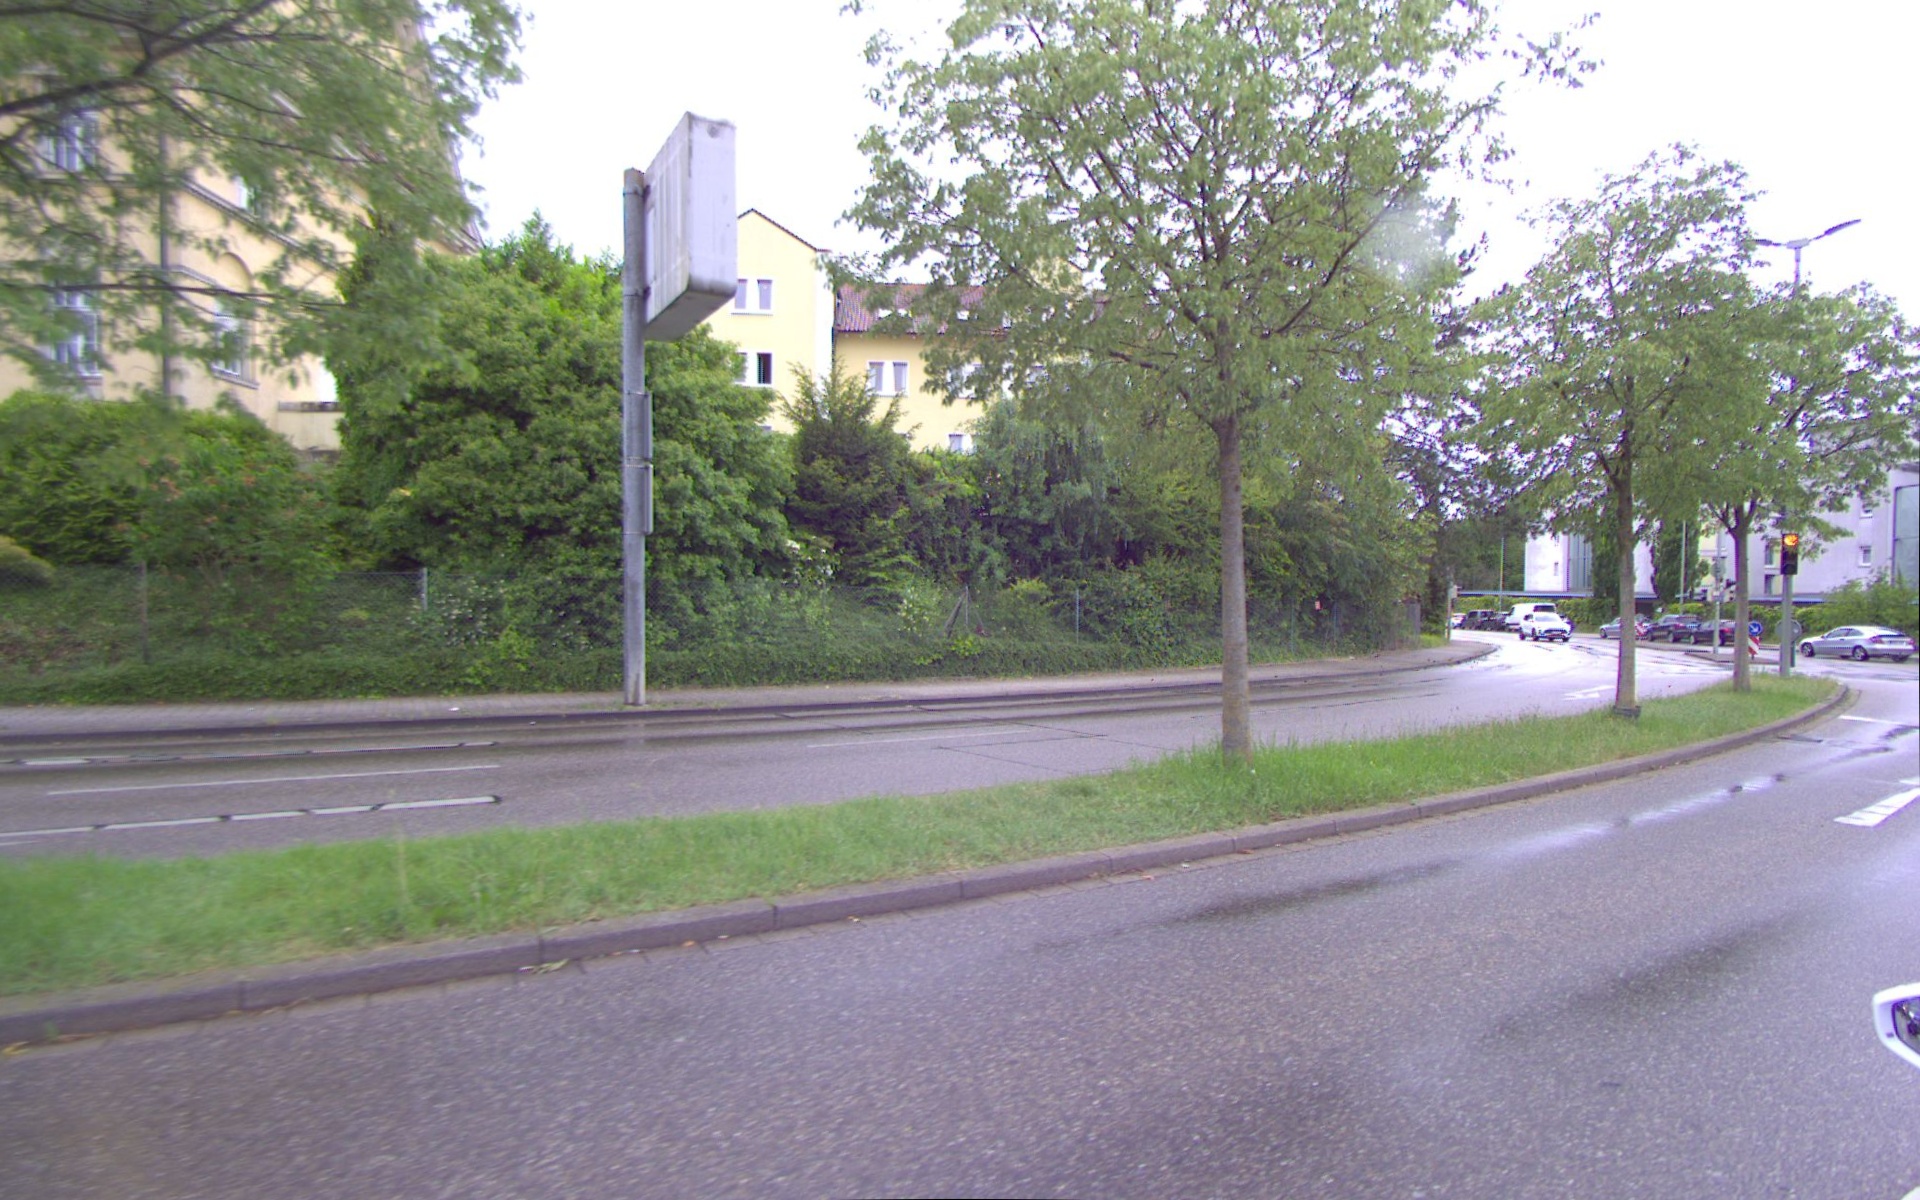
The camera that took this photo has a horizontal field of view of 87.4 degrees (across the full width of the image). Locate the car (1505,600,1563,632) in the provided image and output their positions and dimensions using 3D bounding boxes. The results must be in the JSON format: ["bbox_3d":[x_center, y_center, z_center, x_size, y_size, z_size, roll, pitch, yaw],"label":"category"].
[{"bbox_3d":[46.554,1.308,81.613,2.548,2.445,5.260,1,-2,11],"label":"car"}]

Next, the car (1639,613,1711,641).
[{"bbox_3d":[43.702,1.626,61.486,1.959,1.576,4.002,0,1,9],"label":"car"}]

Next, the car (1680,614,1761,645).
[{"bbox_3d":[42.980,1.643,56.880,1.959,1.576,4.002,0,1,9],"label":"car"}]

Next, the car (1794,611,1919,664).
[{"bbox_3d":[37.103,1.504,41.576,1.960,1.782,4.000,1,4,5],"label":"car"}]

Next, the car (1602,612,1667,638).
[{"bbox_3d":[44.411,1.626,66.235,1.959,1.576,4.002,1,0,9],"label":"car"}]

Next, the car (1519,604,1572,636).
[{"bbox_3d":[33.780,1.111,58.061,1.961,1.662,3.998,2,2,21],"label":"car"}]

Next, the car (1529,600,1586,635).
[{"bbox_3d":[41.687,1.188,70.155,1.941,2.041,4.001,1,4,7],"label":"car"}]
